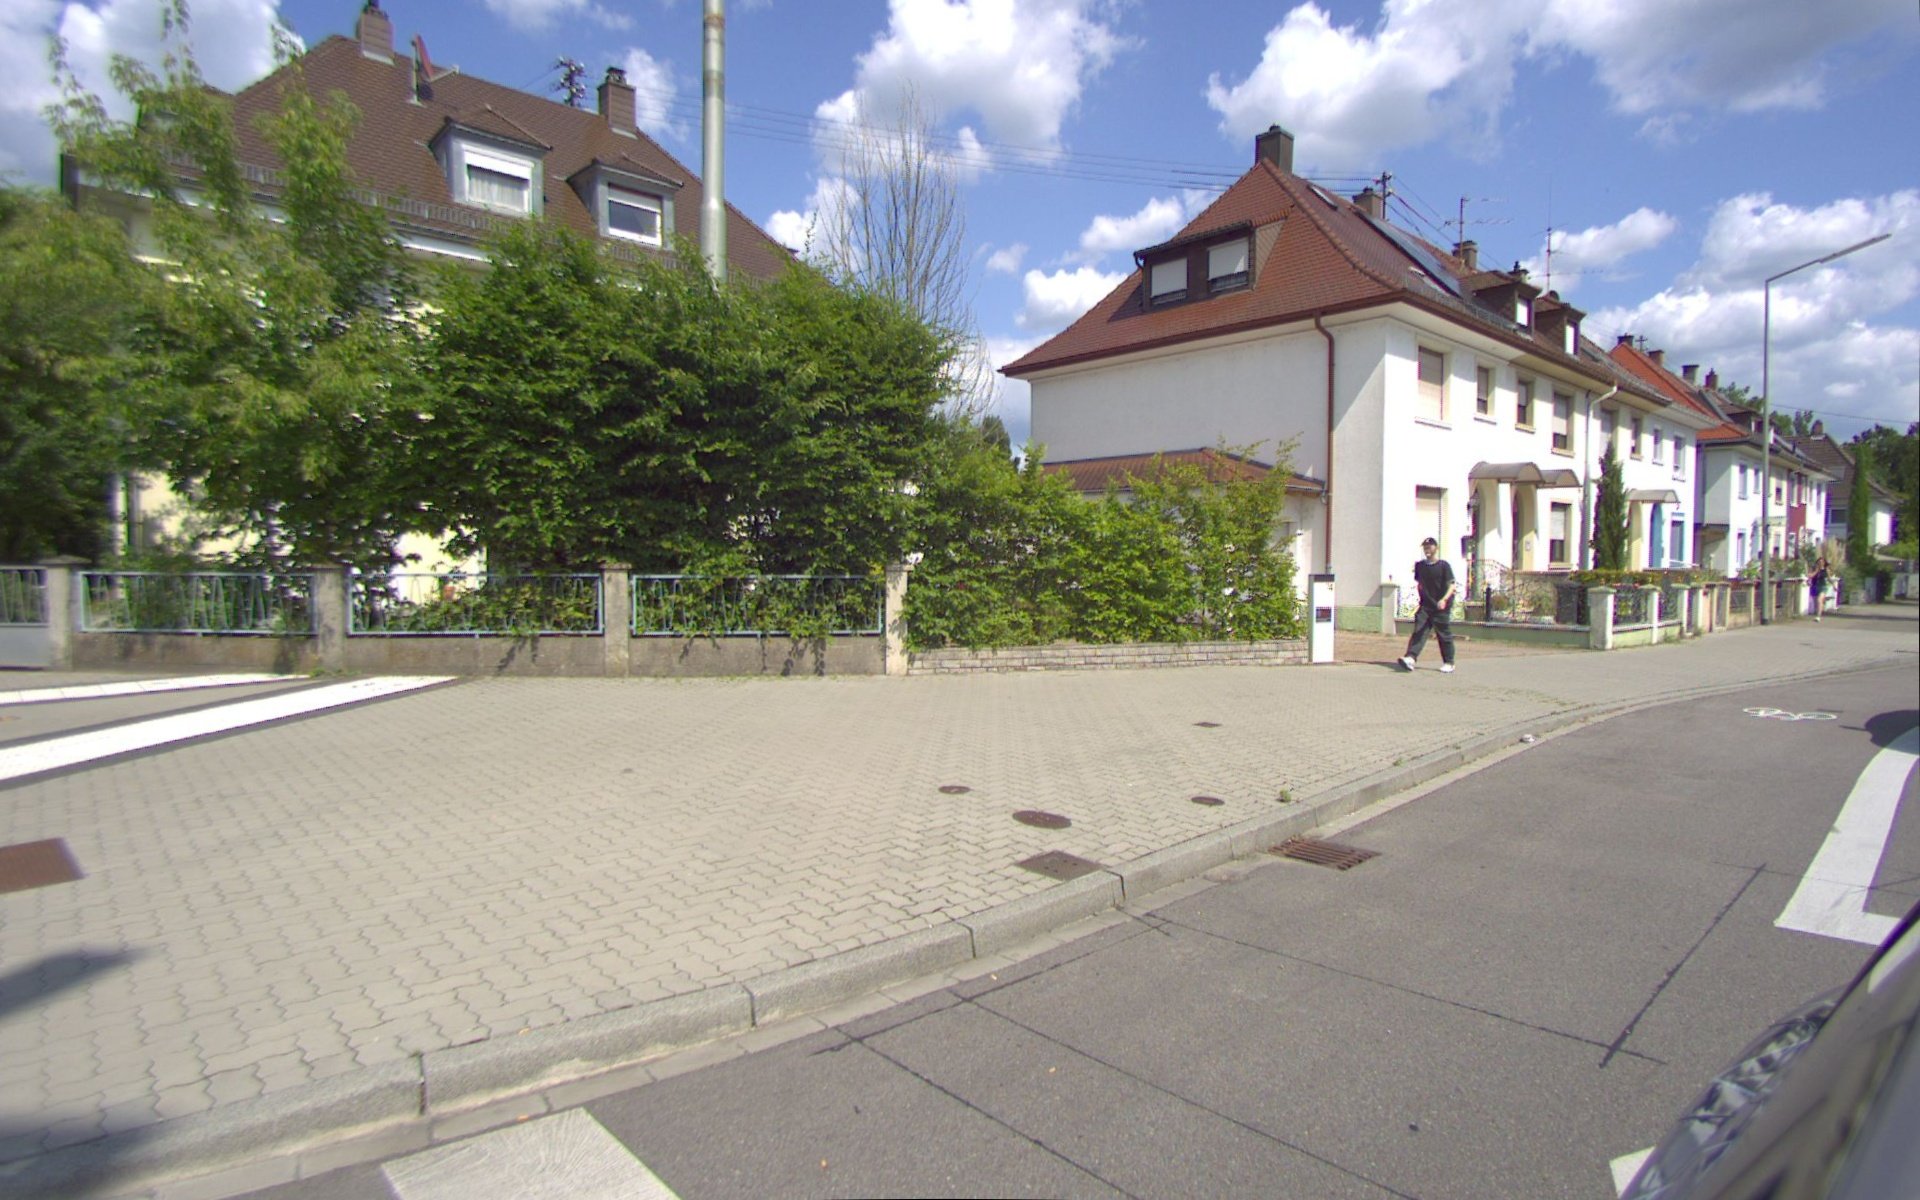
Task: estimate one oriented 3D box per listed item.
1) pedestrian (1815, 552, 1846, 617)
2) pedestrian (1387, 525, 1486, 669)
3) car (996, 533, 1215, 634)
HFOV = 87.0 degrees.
[{"bbox_3d":[23.419,-0.425,27.227,0.607,1.732,0.518,-1,2,-41],"label":"pedestrian"},{"bbox_3d":[6.102,-0.047,12.987,0.918,1.789,0.594,1,2,-10],"label":"pedestrian"},{"bbox_3d":[2.697,-0.373,19.493,1.835,1.729,3.996,-1,3,-40],"label":"car"}]
